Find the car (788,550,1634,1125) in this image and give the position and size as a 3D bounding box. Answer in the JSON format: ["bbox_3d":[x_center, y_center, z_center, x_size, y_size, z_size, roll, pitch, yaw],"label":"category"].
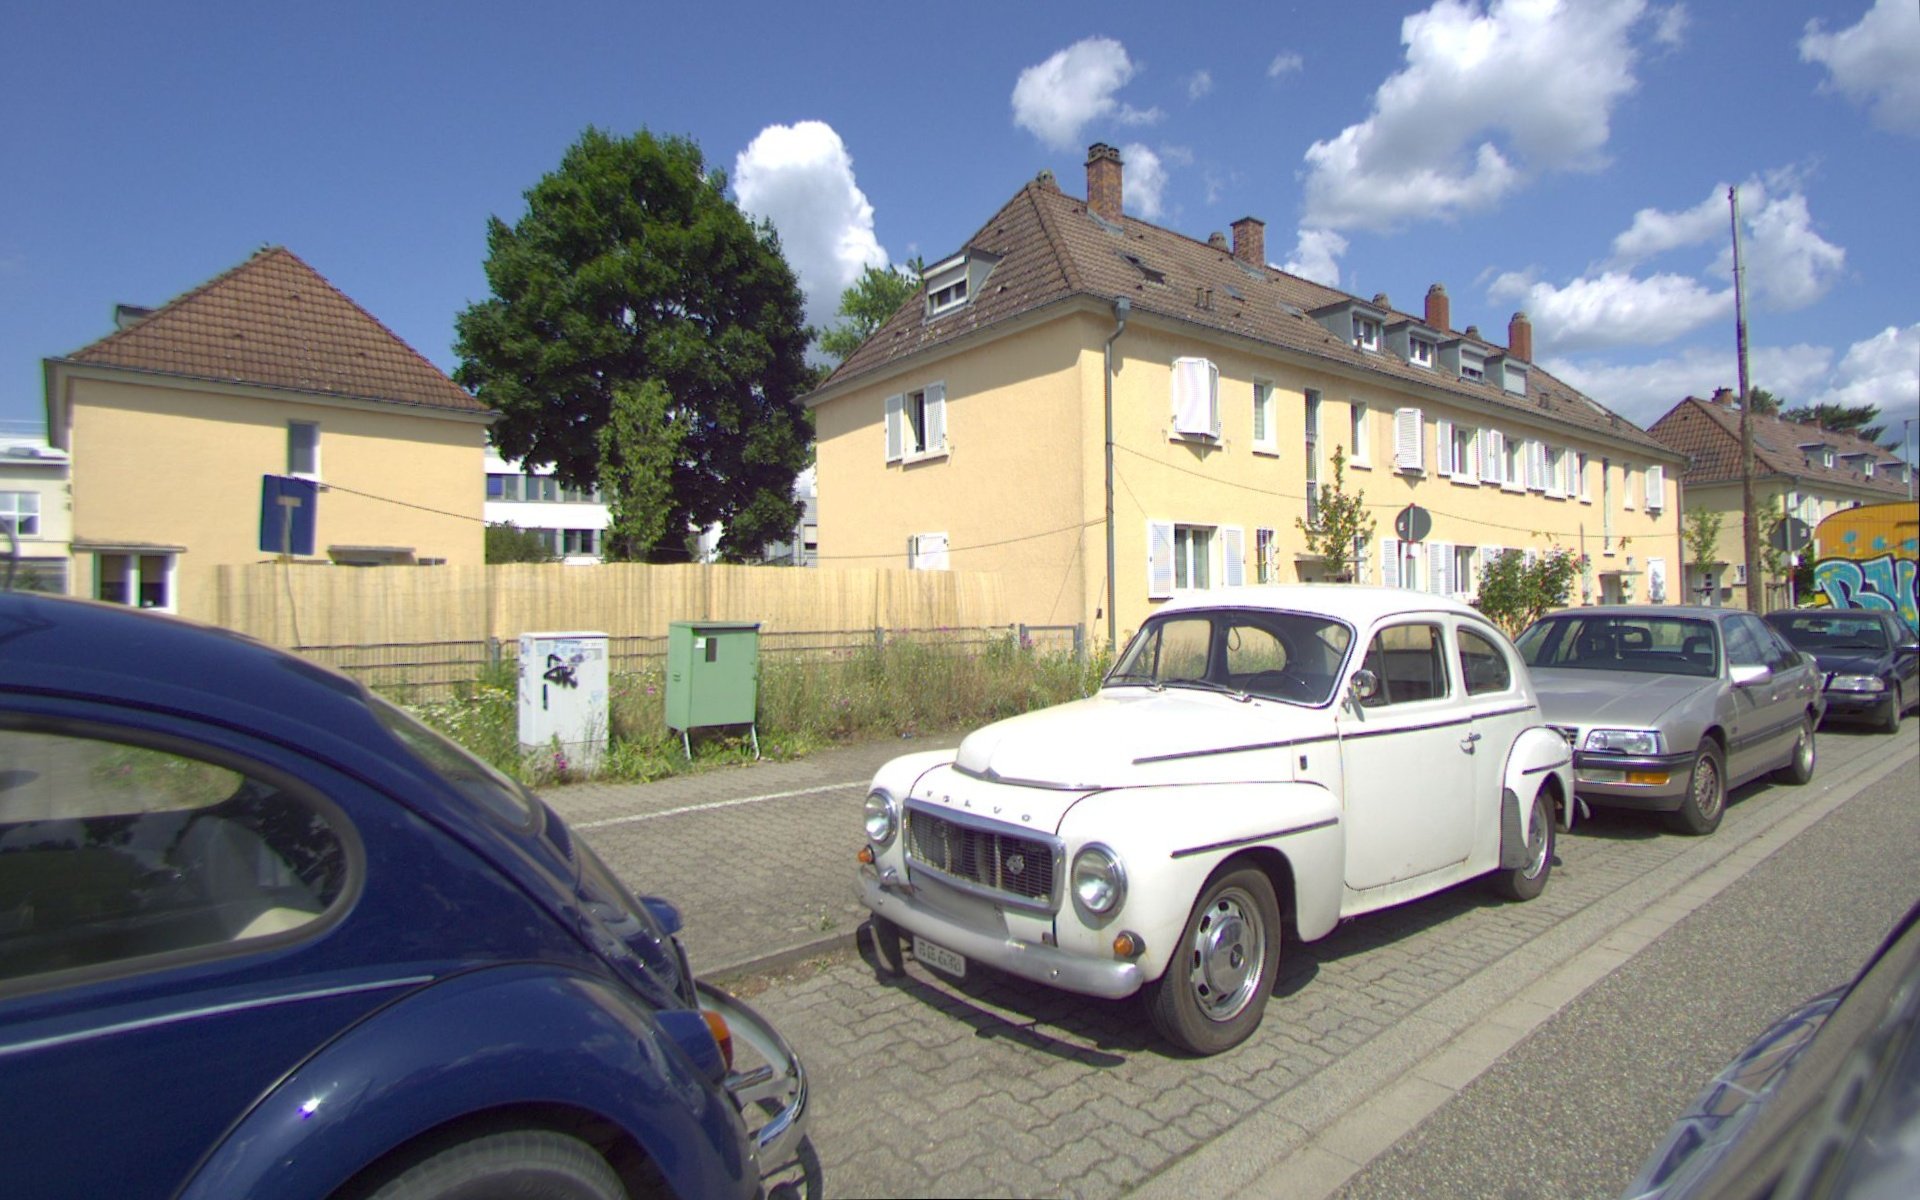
[{"bbox_3d":[1.508,0.640,4.744,4.381,1.532,1.580,0,-1,-40],"label":"car"}]

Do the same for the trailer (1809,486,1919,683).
[{"bbox_3d":[17.815,-0.260,18.389,4.990,3.268,2.695,0,-1,-39],"label":"trailer"}]

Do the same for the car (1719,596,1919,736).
[{"bbox_3d":[11.033,0.699,12.595,4.374,1.468,1.580,0,-1,-40],"label":"car"}]

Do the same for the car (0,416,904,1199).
[{"bbox_3d":[-2.164,0.630,1.262,4.175,1.662,1.550,0,-1,-43],"label":"car"}]

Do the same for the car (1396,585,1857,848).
[{"bbox_3d":[5.372,0.660,7.858,4.749,1.468,1.709,0,-1,-40],"label":"car"}]
